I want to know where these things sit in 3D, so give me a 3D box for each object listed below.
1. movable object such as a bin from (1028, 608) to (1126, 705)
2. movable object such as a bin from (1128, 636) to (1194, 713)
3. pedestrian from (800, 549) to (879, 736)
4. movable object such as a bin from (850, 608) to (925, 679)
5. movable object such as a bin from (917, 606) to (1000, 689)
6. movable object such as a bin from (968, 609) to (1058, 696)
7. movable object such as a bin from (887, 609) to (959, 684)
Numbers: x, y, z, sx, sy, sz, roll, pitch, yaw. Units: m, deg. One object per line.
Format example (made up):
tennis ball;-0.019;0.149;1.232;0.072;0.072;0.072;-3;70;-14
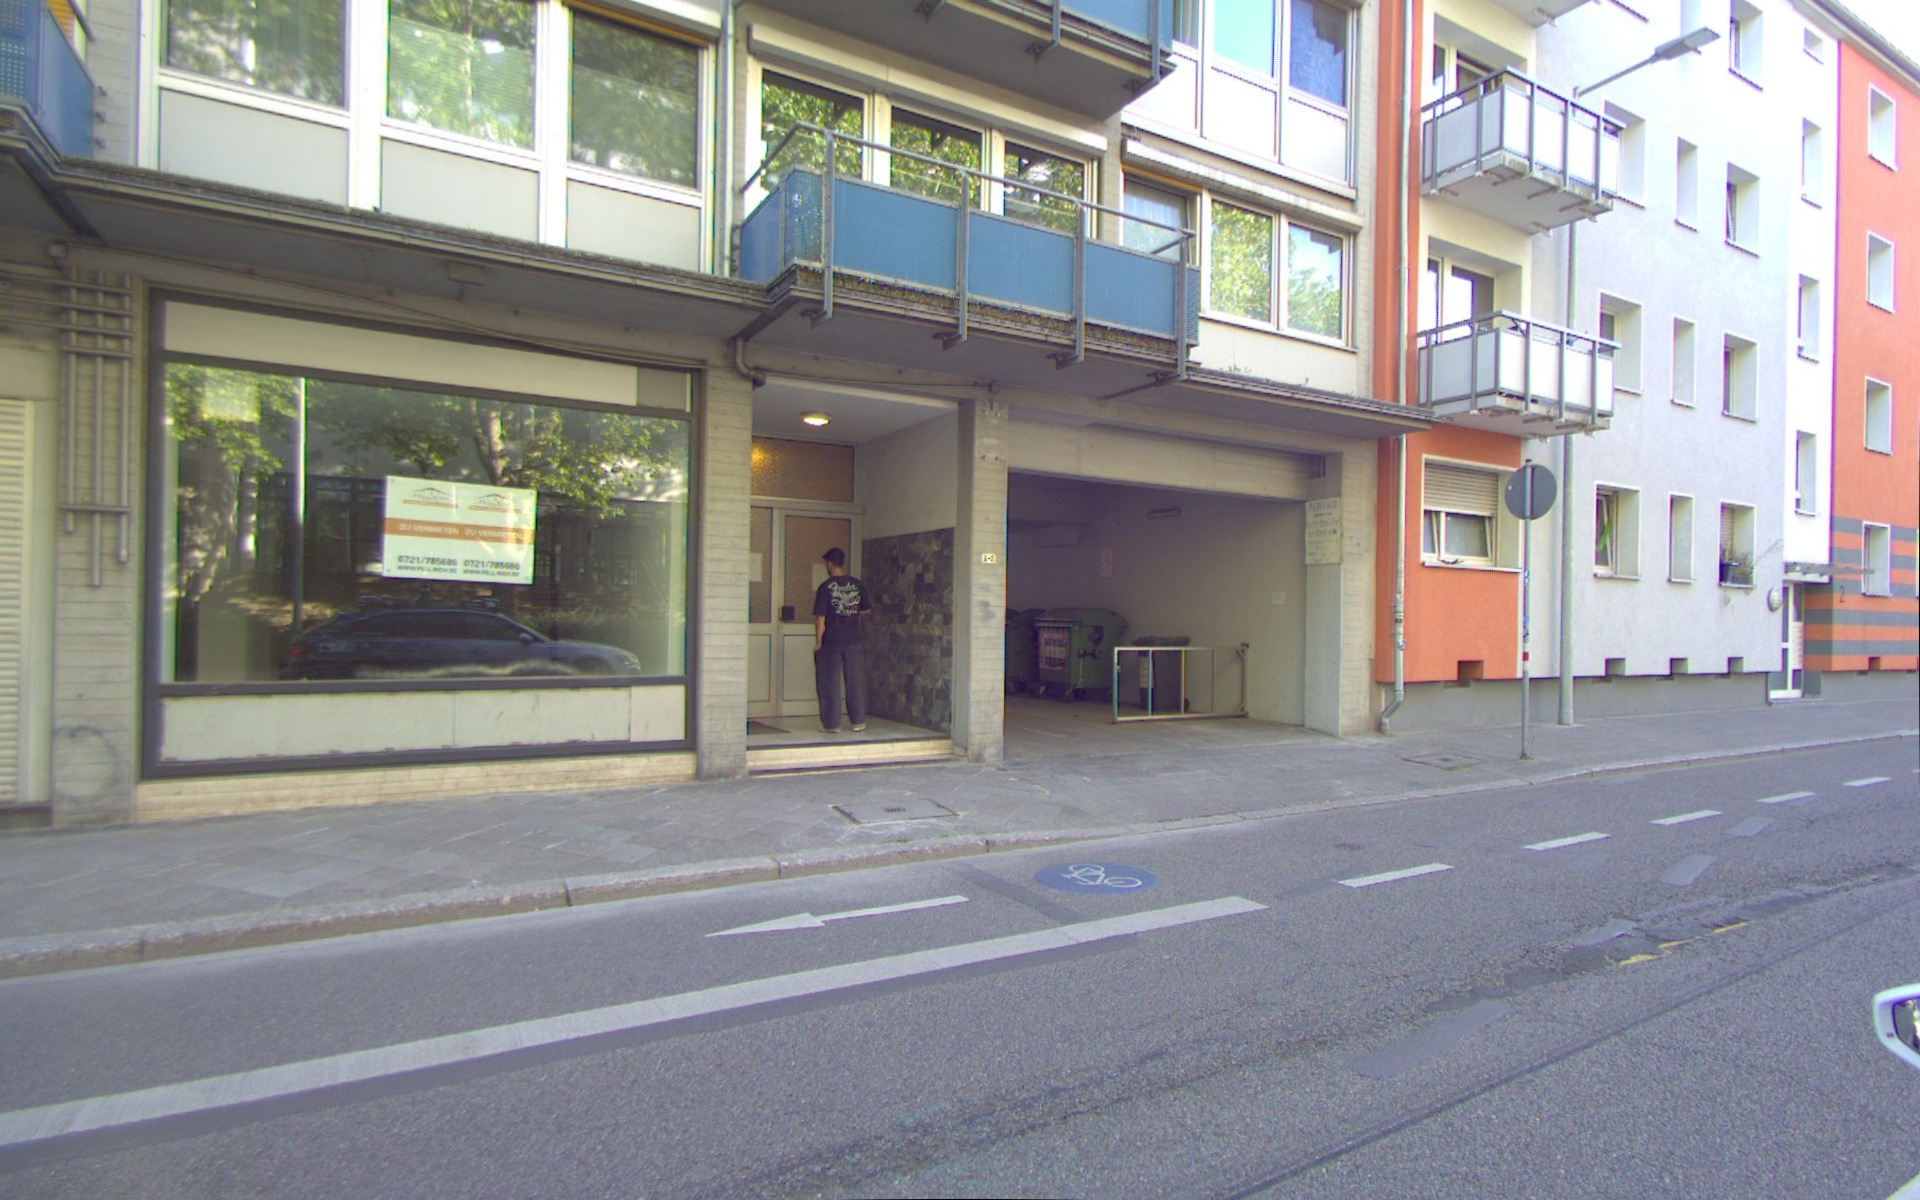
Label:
movable object such as a bin;1.825;0.859;15.836;1.009;1.438;1.321;1;0;-23
movable object such as a bin;2.890;1.058;14.460;0.704;1.054;0.583;1;0;-30
pedestrian;-1.182;0.405;9.818;0.622;1.764;0.524;1;0;-25
movable object such as a bin;-1.497;0.873;20.655;1.014;1.409;1.264;1;0;-37
movable object such as a bin;-0.044;0.852;18.655;1.011;1.462;1.318;1;0;-29
movable object such as a bin;0.892;0.873;17.161;1.011;1.409;1.319;1;0;-27
movable object such as a bin;-0.735;0.888;19.681;1.012;1.409;1.046;1;0;-31
